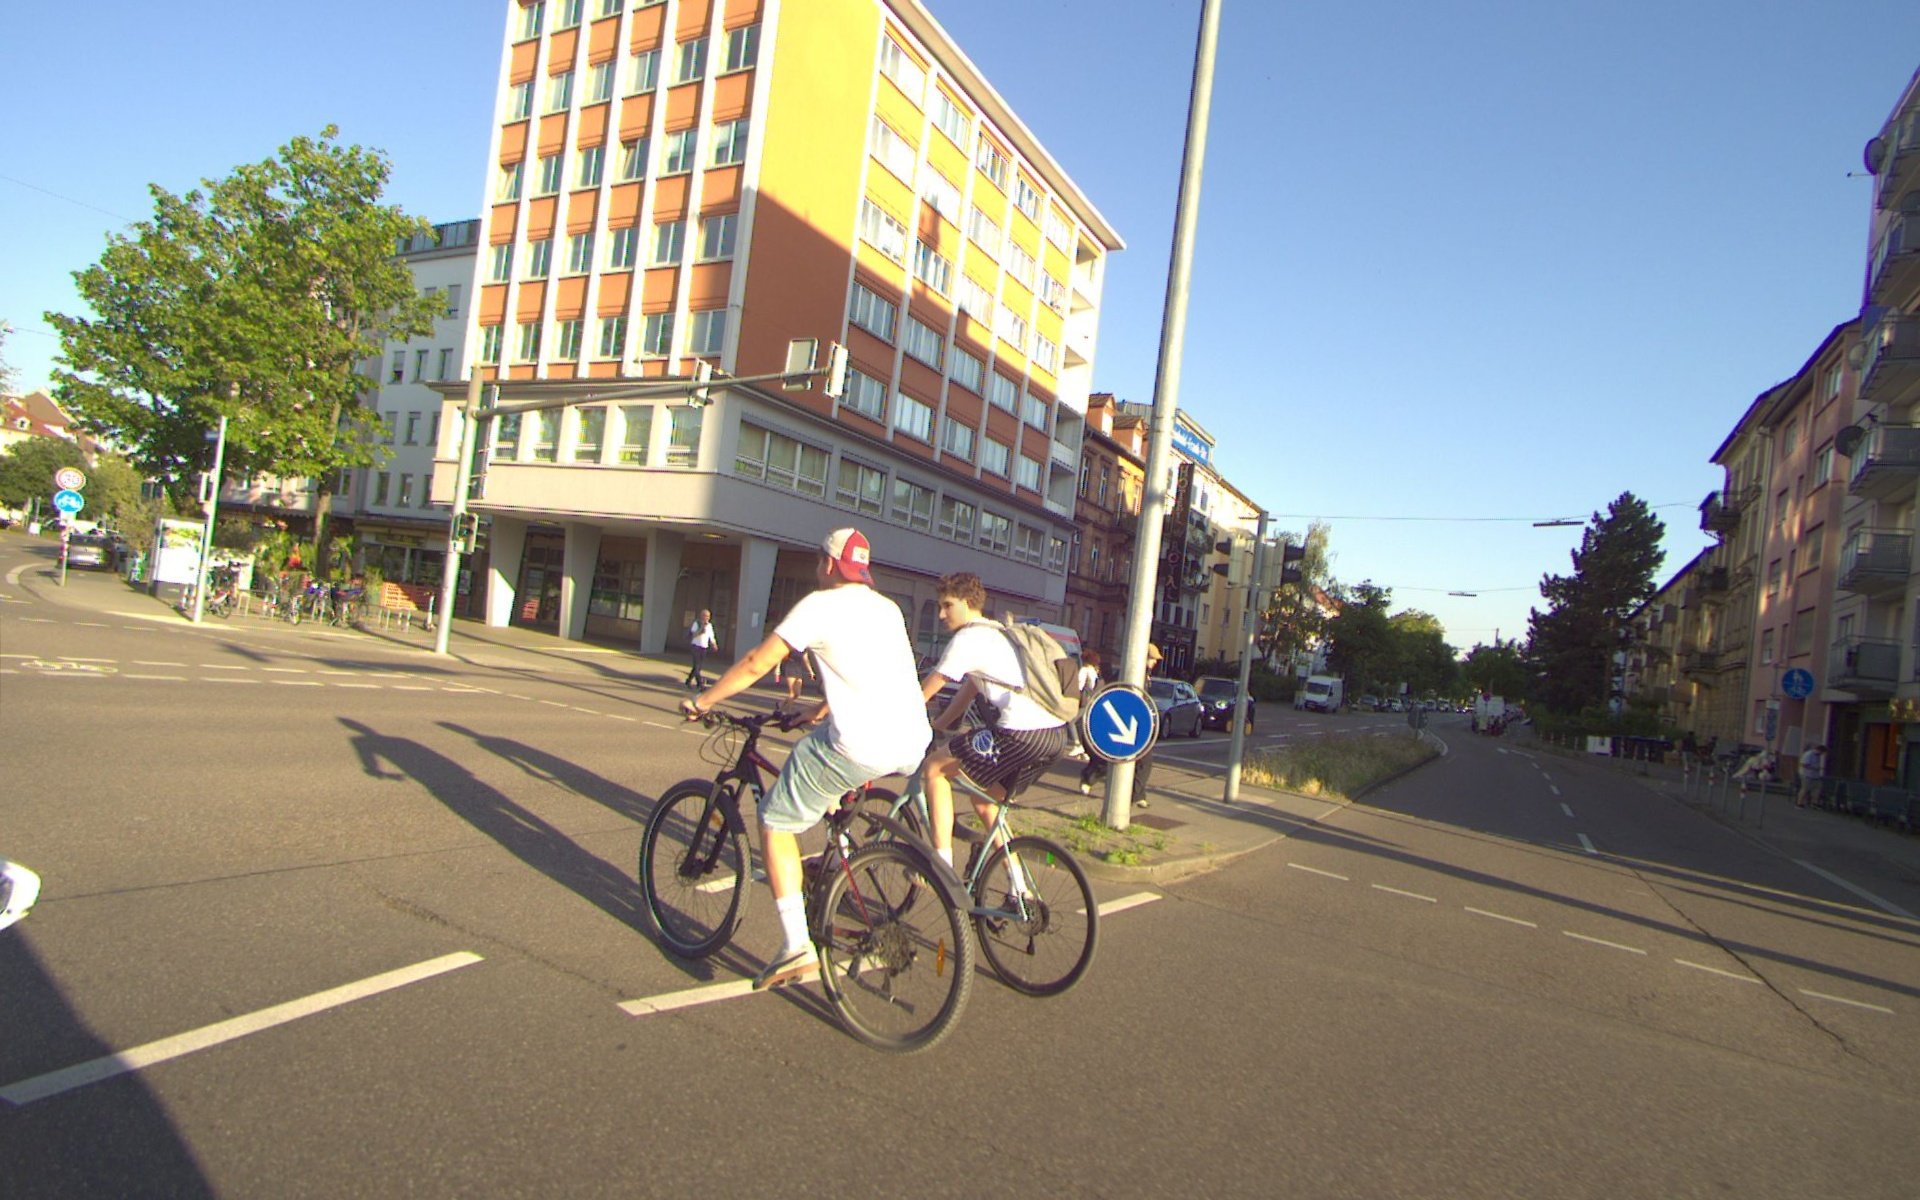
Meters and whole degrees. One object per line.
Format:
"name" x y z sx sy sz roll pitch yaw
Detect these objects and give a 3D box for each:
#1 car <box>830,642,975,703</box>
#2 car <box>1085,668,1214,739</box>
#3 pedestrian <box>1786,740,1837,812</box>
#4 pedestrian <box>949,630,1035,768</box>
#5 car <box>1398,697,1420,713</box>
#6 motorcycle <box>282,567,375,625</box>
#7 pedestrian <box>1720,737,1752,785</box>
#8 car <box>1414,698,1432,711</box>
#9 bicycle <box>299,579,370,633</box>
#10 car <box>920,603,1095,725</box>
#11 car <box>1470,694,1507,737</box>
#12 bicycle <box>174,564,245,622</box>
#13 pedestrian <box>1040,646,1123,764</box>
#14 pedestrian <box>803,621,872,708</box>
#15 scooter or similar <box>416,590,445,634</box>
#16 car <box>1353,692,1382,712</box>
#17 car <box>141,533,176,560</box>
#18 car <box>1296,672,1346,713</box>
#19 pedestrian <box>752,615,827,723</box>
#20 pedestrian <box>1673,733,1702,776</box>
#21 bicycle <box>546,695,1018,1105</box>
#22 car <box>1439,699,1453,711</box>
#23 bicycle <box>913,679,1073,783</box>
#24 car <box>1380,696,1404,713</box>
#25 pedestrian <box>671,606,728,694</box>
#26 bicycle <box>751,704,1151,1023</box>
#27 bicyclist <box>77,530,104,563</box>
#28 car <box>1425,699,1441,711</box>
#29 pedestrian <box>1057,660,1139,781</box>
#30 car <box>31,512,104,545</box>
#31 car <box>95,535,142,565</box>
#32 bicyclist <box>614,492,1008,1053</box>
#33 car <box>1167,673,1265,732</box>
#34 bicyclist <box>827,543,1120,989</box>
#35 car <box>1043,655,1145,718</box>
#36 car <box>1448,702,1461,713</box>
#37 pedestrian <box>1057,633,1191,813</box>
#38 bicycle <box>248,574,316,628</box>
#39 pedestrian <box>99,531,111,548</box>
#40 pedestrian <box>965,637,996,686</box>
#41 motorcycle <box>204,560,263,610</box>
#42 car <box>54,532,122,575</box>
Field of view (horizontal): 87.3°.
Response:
"car" -1.576 2.180 29.549 1.809 1.356 4.671 6 -3 31
"car" 4.707 2.529 24.557 1.776 1.392 3.996 5 -3 30
"pedestrian" 23.284 4.798 27.526 0.698 1.796 0.728 7 -1 18
"pedestrian" 0.408 1.226 12.579 0.747 1.607 0.678 5 -2 22
"car" 53.720 12.584 120.341 1.896 1.592 3.997 6 -2 29
"motorcycle" -18.625 -0.099 29.709 0.749 1.422 2.045 6 -2 37
"pedestrian" 28.406 5.874 36.833 0.699 1.595 0.727 6 -1 29
"car" 63.974 14.444 138.894 1.896 1.592 3.997 6 -2 29
"bicycle" -16.798 0.148 27.018 2.089 1.171 0.646 7 -1 32
"car" 1.333 1.666 24.838 1.893 2.510 5.263 6 -2 30
"car" 39.270 8.558 74.775 2.054 2.752 4.545 7 -2 28
"bicycle" -18.227 -0.176 24.426 1.843 1.140 0.646 7 -1 32
"pedestrian" 1.896 1.621 15.674 0.891 1.681 0.729 7 -1 31
"pedestrian" -2.625 1.380 21.525 1.010 1.721 0.784 7 -1 31
"scooter or similar" -16.317 0.361 31.009 0.413 1.269 1.170 8 -2 -40
"car" 38.176 9.531 94.261 1.896 1.592 3.997 6 -2 29
"car" -59.581 -3.989 74.807 1.857 1.735 4.459 5 -1 -38
"car" 25.855 6.653 71.884 2.089 2.552 6.426 7 -2 29
"pedestrian" -2.712 1.099 16.005 0.735 1.608 0.682 7 -1 35
"pedestrian" 29.062 6.163 40.214 0.699 1.595 0.727 6 -1 28
"bicycle" -0.783 1.031 3.960 1.950 1.040 0.479 6 -1 35
"car" 86.144 18.672 178.398 1.896 1.766 3.997 6 -2 29
"bicycle" 0.402 1.609 12.540 1.816 0.992 0.522 7 -1 21
"car" 48.109 11.580 111.940 1.896 1.592 3.997 6 -2 29
"pedestrian" -5.449 1.051 21.059 0.799 1.721 0.569 7 -1 31
"bicycle" -0.099 1.155 4.857 1.827 1.040 0.576 6 -1 35
"bicyclist" -45.854 -2.827 53.062 0.773 1.636 1.015 9 -3 -37
"car" 74.799 16.652 159.014 1.896 1.592 3.997 6 -2 29
"pedestrian" 1.886 1.638 13.759 0.734 1.517 0.683 7 -1 31
"car" -98.978 -7.916 111.636 2.117 2.623 5.529 6 -3 27
"car" -50.833 -3.003 60.810 1.771 1.576 4.195 5 -1 -36
"bicyclist" -0.572 0.575 3.944 1.040 1.828 0.827 6 -1 34
"car" 8.002 3.191 31.242 1.758 1.481 3.996 6 -2 31
"bicyclist" 0.067 0.715 4.777 0.978 1.828 0.675 6 -1 34
"car" 4.130 2.645 30.540 1.569 1.589 4.082 7 -2 29
"car" 94.502 20.487 192.120 1.896 1.766 3.997 6 -2 29
"pedestrian" 1.758 1.297 10.803 1.055 1.724 0.662 7 -1 35
"bicycle" -17.454 0.022 25.883 1.843 1.140 0.646 7 -1 32
"pedestrian" -84.388 -5.995 99.304 0.733 1.572 0.625 8 -2 -40
"pedestrian" 0.793 2.348 38.514 0.629 1.777 0.818 7 -1 32
"motorcycle" -21.244 -0.450 29.410 2.167 1.257 0.666 6 -2 37
"car" -35.426 -1.889 40.931 1.718 1.490 3.861 5 -1 -37
